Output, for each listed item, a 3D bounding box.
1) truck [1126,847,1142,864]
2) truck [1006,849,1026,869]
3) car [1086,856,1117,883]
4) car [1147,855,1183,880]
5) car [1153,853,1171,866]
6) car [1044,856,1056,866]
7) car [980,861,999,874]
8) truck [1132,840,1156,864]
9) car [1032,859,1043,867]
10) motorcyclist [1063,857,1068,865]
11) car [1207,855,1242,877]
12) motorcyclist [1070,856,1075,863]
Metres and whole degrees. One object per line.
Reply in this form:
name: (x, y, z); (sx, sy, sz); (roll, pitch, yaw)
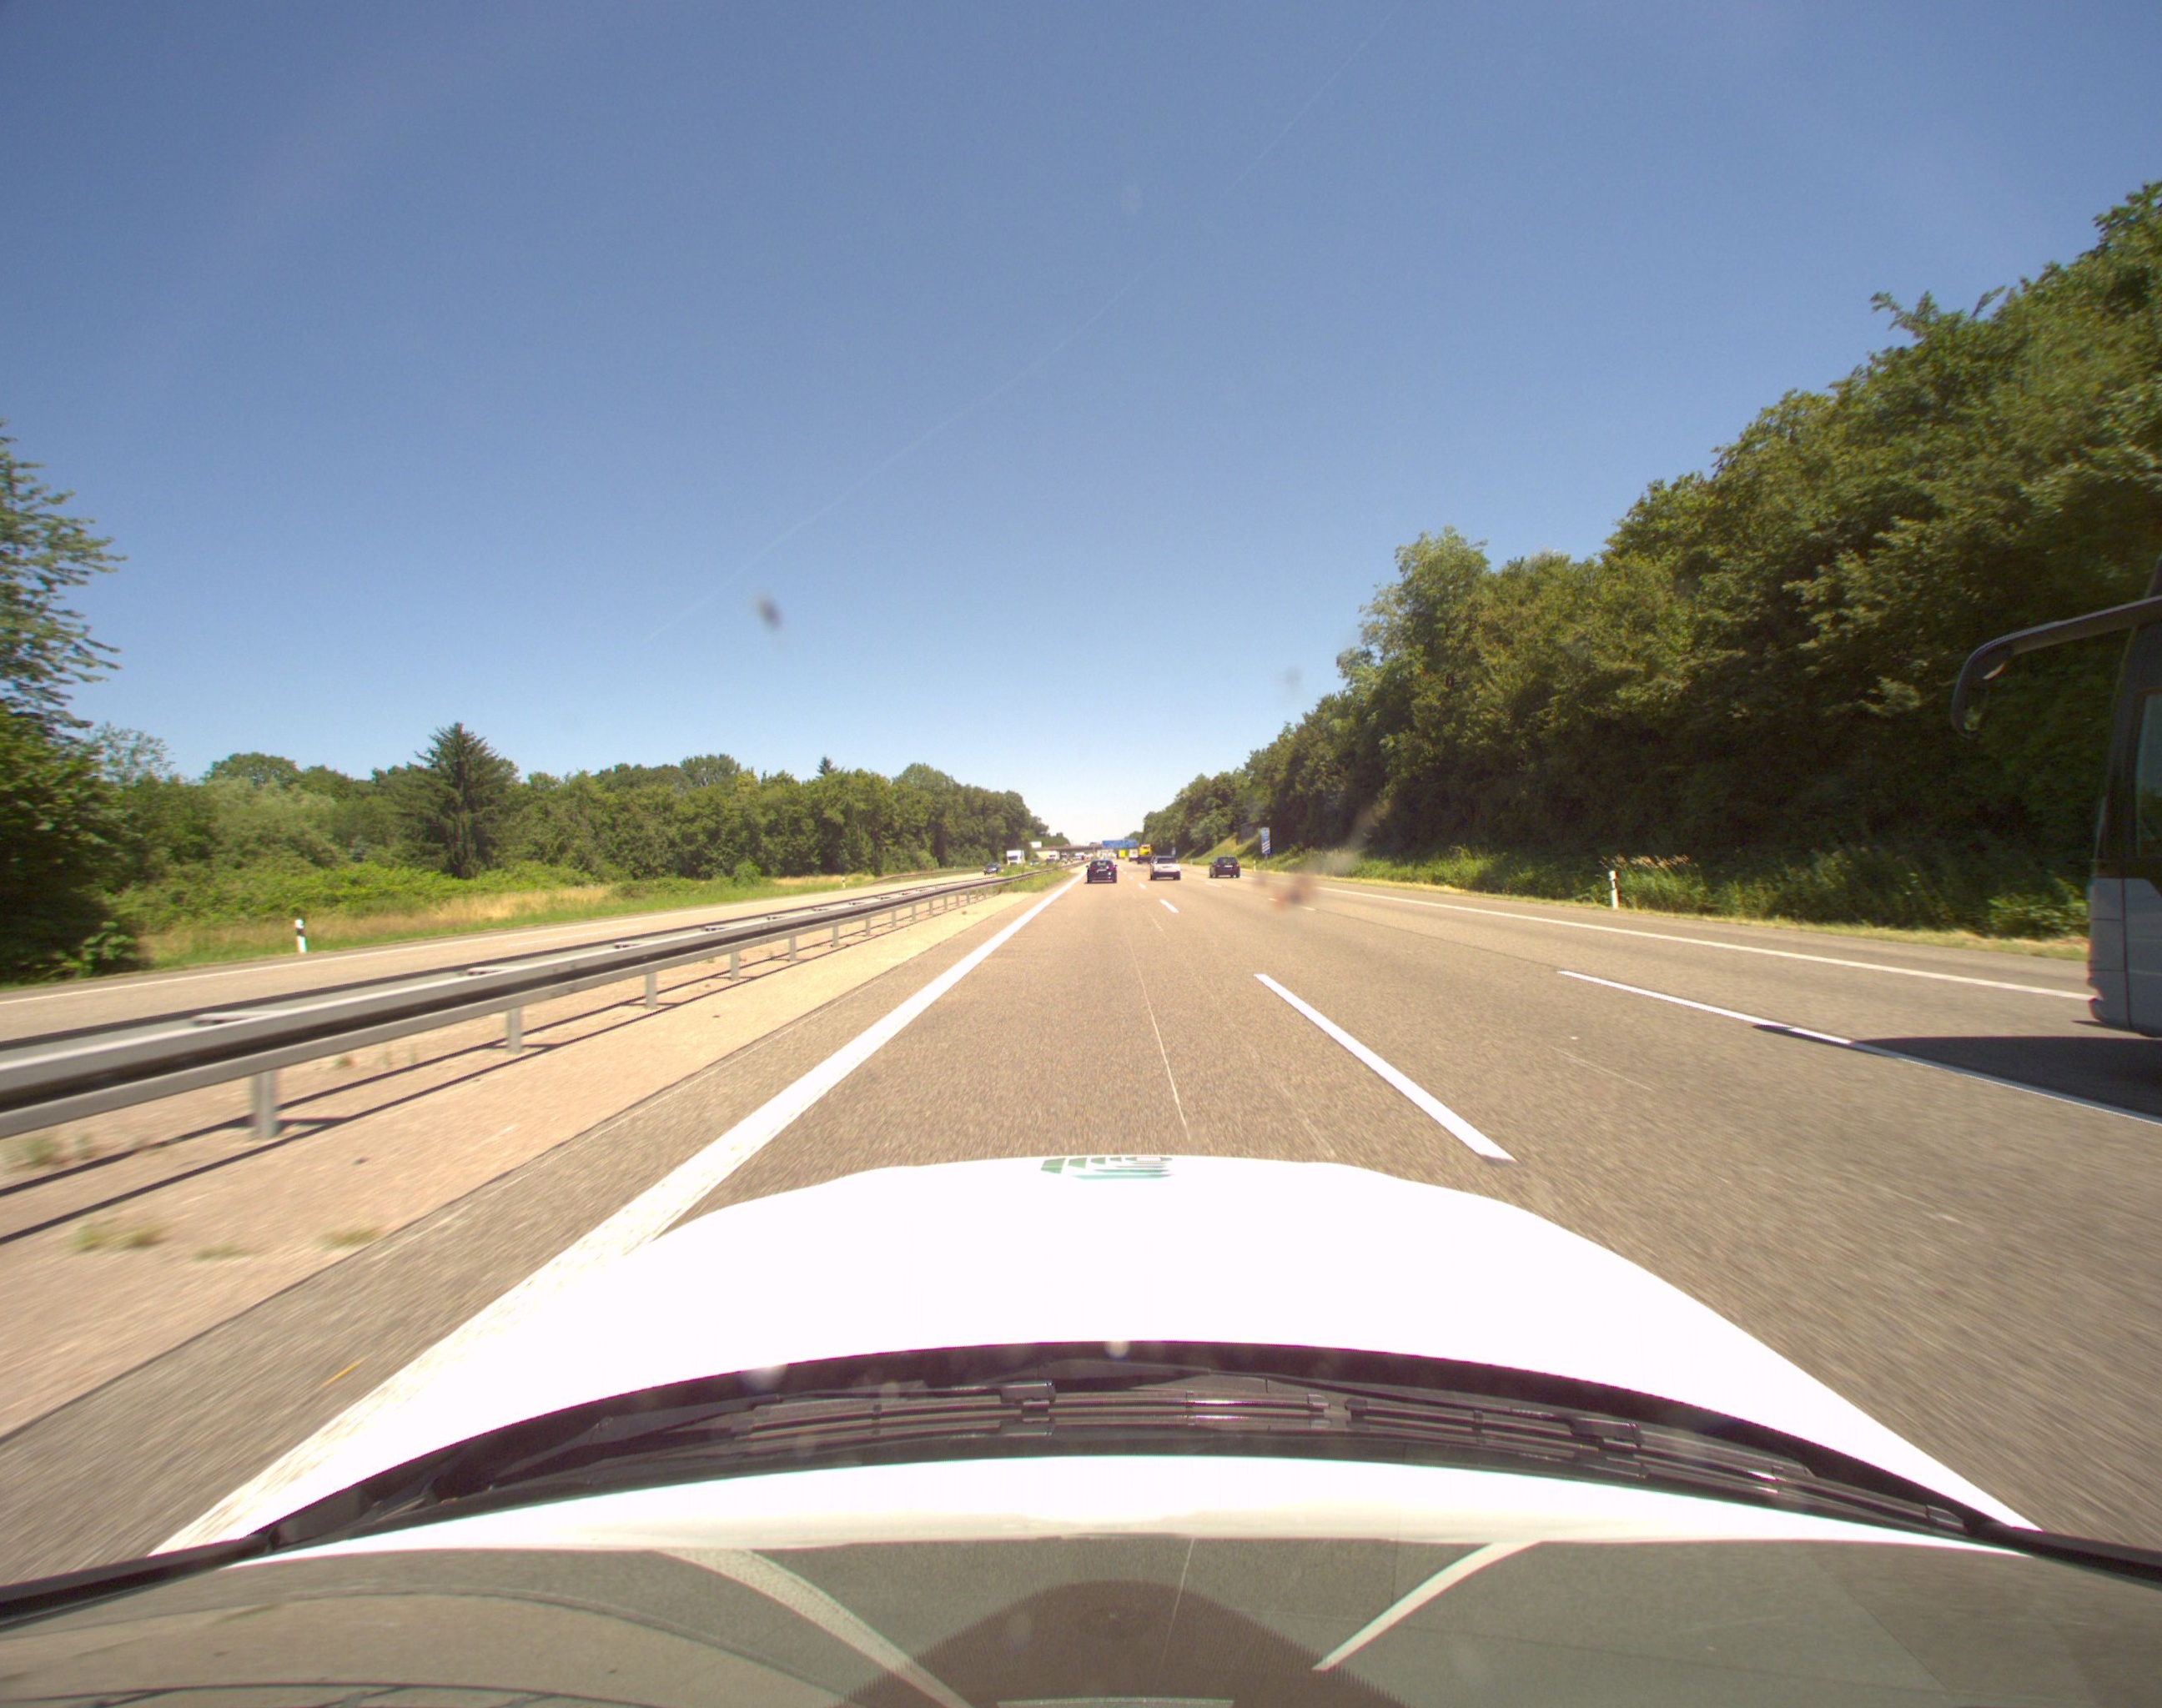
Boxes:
truck: (14.582, 0.443, 225.822); (3.635, 4.590, 17.247); (-1, 0, 1)
truck: (-12.908, 1.008, 162.312); (2.786, 3.632, 10.697); (-3, 0, 1)
car: (1.200, 0.908, 49.119); (1.793, 1.502, 4.241); (-1, 0, 1)
car: (5.420, 0.826, 52.850); (1.893, 1.532, 4.241); (-1, 0, 1)
car: (11.699, 0.853, 117.578); (2.069, 1.751, 4.241); (-3, 0, 1)
car: (-5.258, 1.222, 138.597); (1.793, 1.696, 4.242); (-1, 0, 1)
car: (-11.914, 1.760, 106.090); (1.793, 1.532, 4.678); (-1, 0, 1)
truck: (12.480, -0.299, 163.210); (3.635, 4.590, 15.767); (-1, 0, 1)
car: (-8.535, 1.689, 159.067); (1.793, 1.532, 4.241); (-1, 0, 0)
motorcyclist: (-3.727, 1.778, 199.156); (1.148, 1.815, 1.027); (-2, -1, 1)
car: (9.723, 0.794, 55.411); (1.782, 1.461, 3.951); (-1, 0, 2)
motorcyclist: (-2.408, 1.578, 229.662); (1.148, 1.815, 1.027); (-2, -1, 1)
